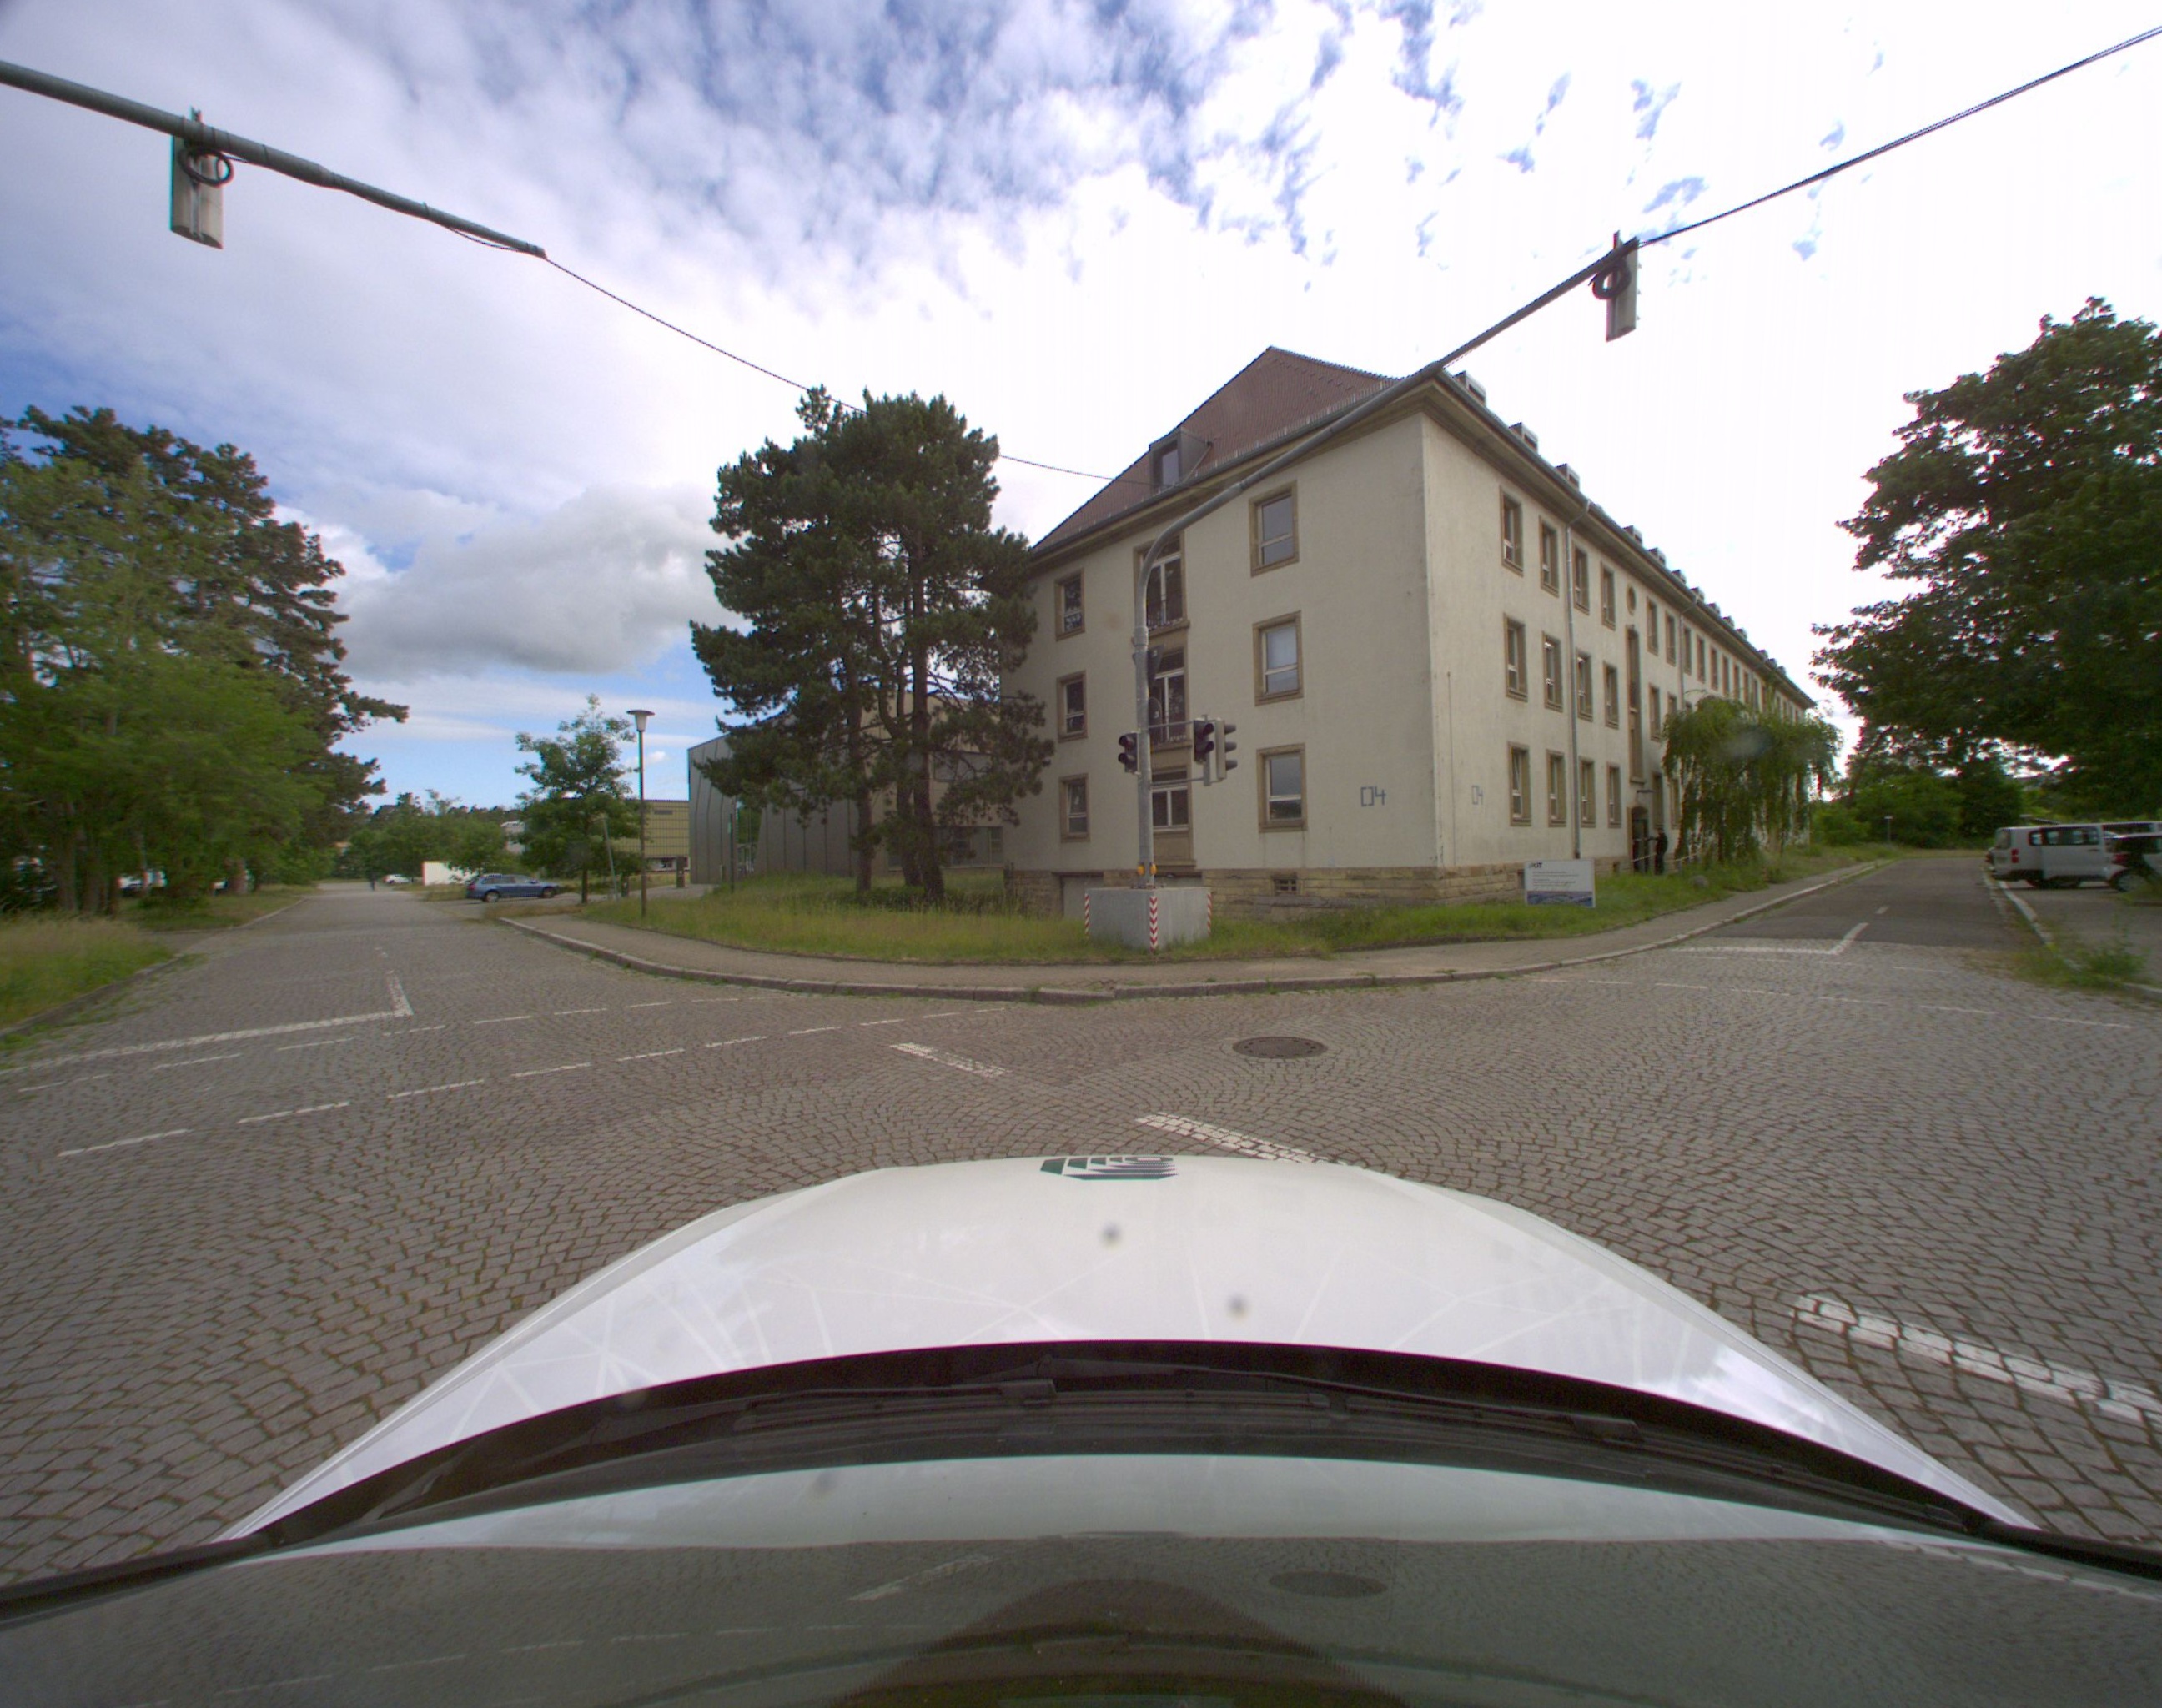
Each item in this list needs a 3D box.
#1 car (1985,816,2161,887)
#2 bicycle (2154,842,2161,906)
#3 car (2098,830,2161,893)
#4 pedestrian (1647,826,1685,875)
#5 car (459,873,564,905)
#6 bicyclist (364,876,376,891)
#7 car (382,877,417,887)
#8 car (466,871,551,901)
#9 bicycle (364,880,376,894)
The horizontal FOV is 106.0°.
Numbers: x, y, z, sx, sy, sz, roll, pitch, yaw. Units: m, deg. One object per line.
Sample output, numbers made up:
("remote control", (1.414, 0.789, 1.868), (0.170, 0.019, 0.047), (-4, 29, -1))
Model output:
("car", (30.264, -0.098, 23.447), (5.252, 1.916, 2.164), (-2, -1, 34))
("bicycle", (21.751, 0.351, 15.198), (0.628, 1.248, 1.964), (-1, -2, -43))
("car", (28.109, 0.162, 20.613), (1.480, 1.558, 2.822), (-3, 0, -42))
("pedestrian", (21.543, -0.131, 29.991), (0.945, 1.781, 0.830), (-1, 0, -37))
("car", (-31.999, 1.924, 45.818), (4.522, 1.462, 1.910), (-4, 1, -45))
("bicyclist", (-72.368, 3.002, 82.851), (0.905, 1.542, 0.857), (-1, 0, -43))
("car", (-111.564, 4.546, 133.419), (4.359, 1.549, 1.976), (-1, 0, -41))
("car", (-36.376, 1.998, 51.790), (4.145, 1.572, 1.743), (-4, 1, -45))
("bicycle", (-72.379, 3.379, 82.865), (0.831, 1.376, 2.017), (-1, 0, -43))
